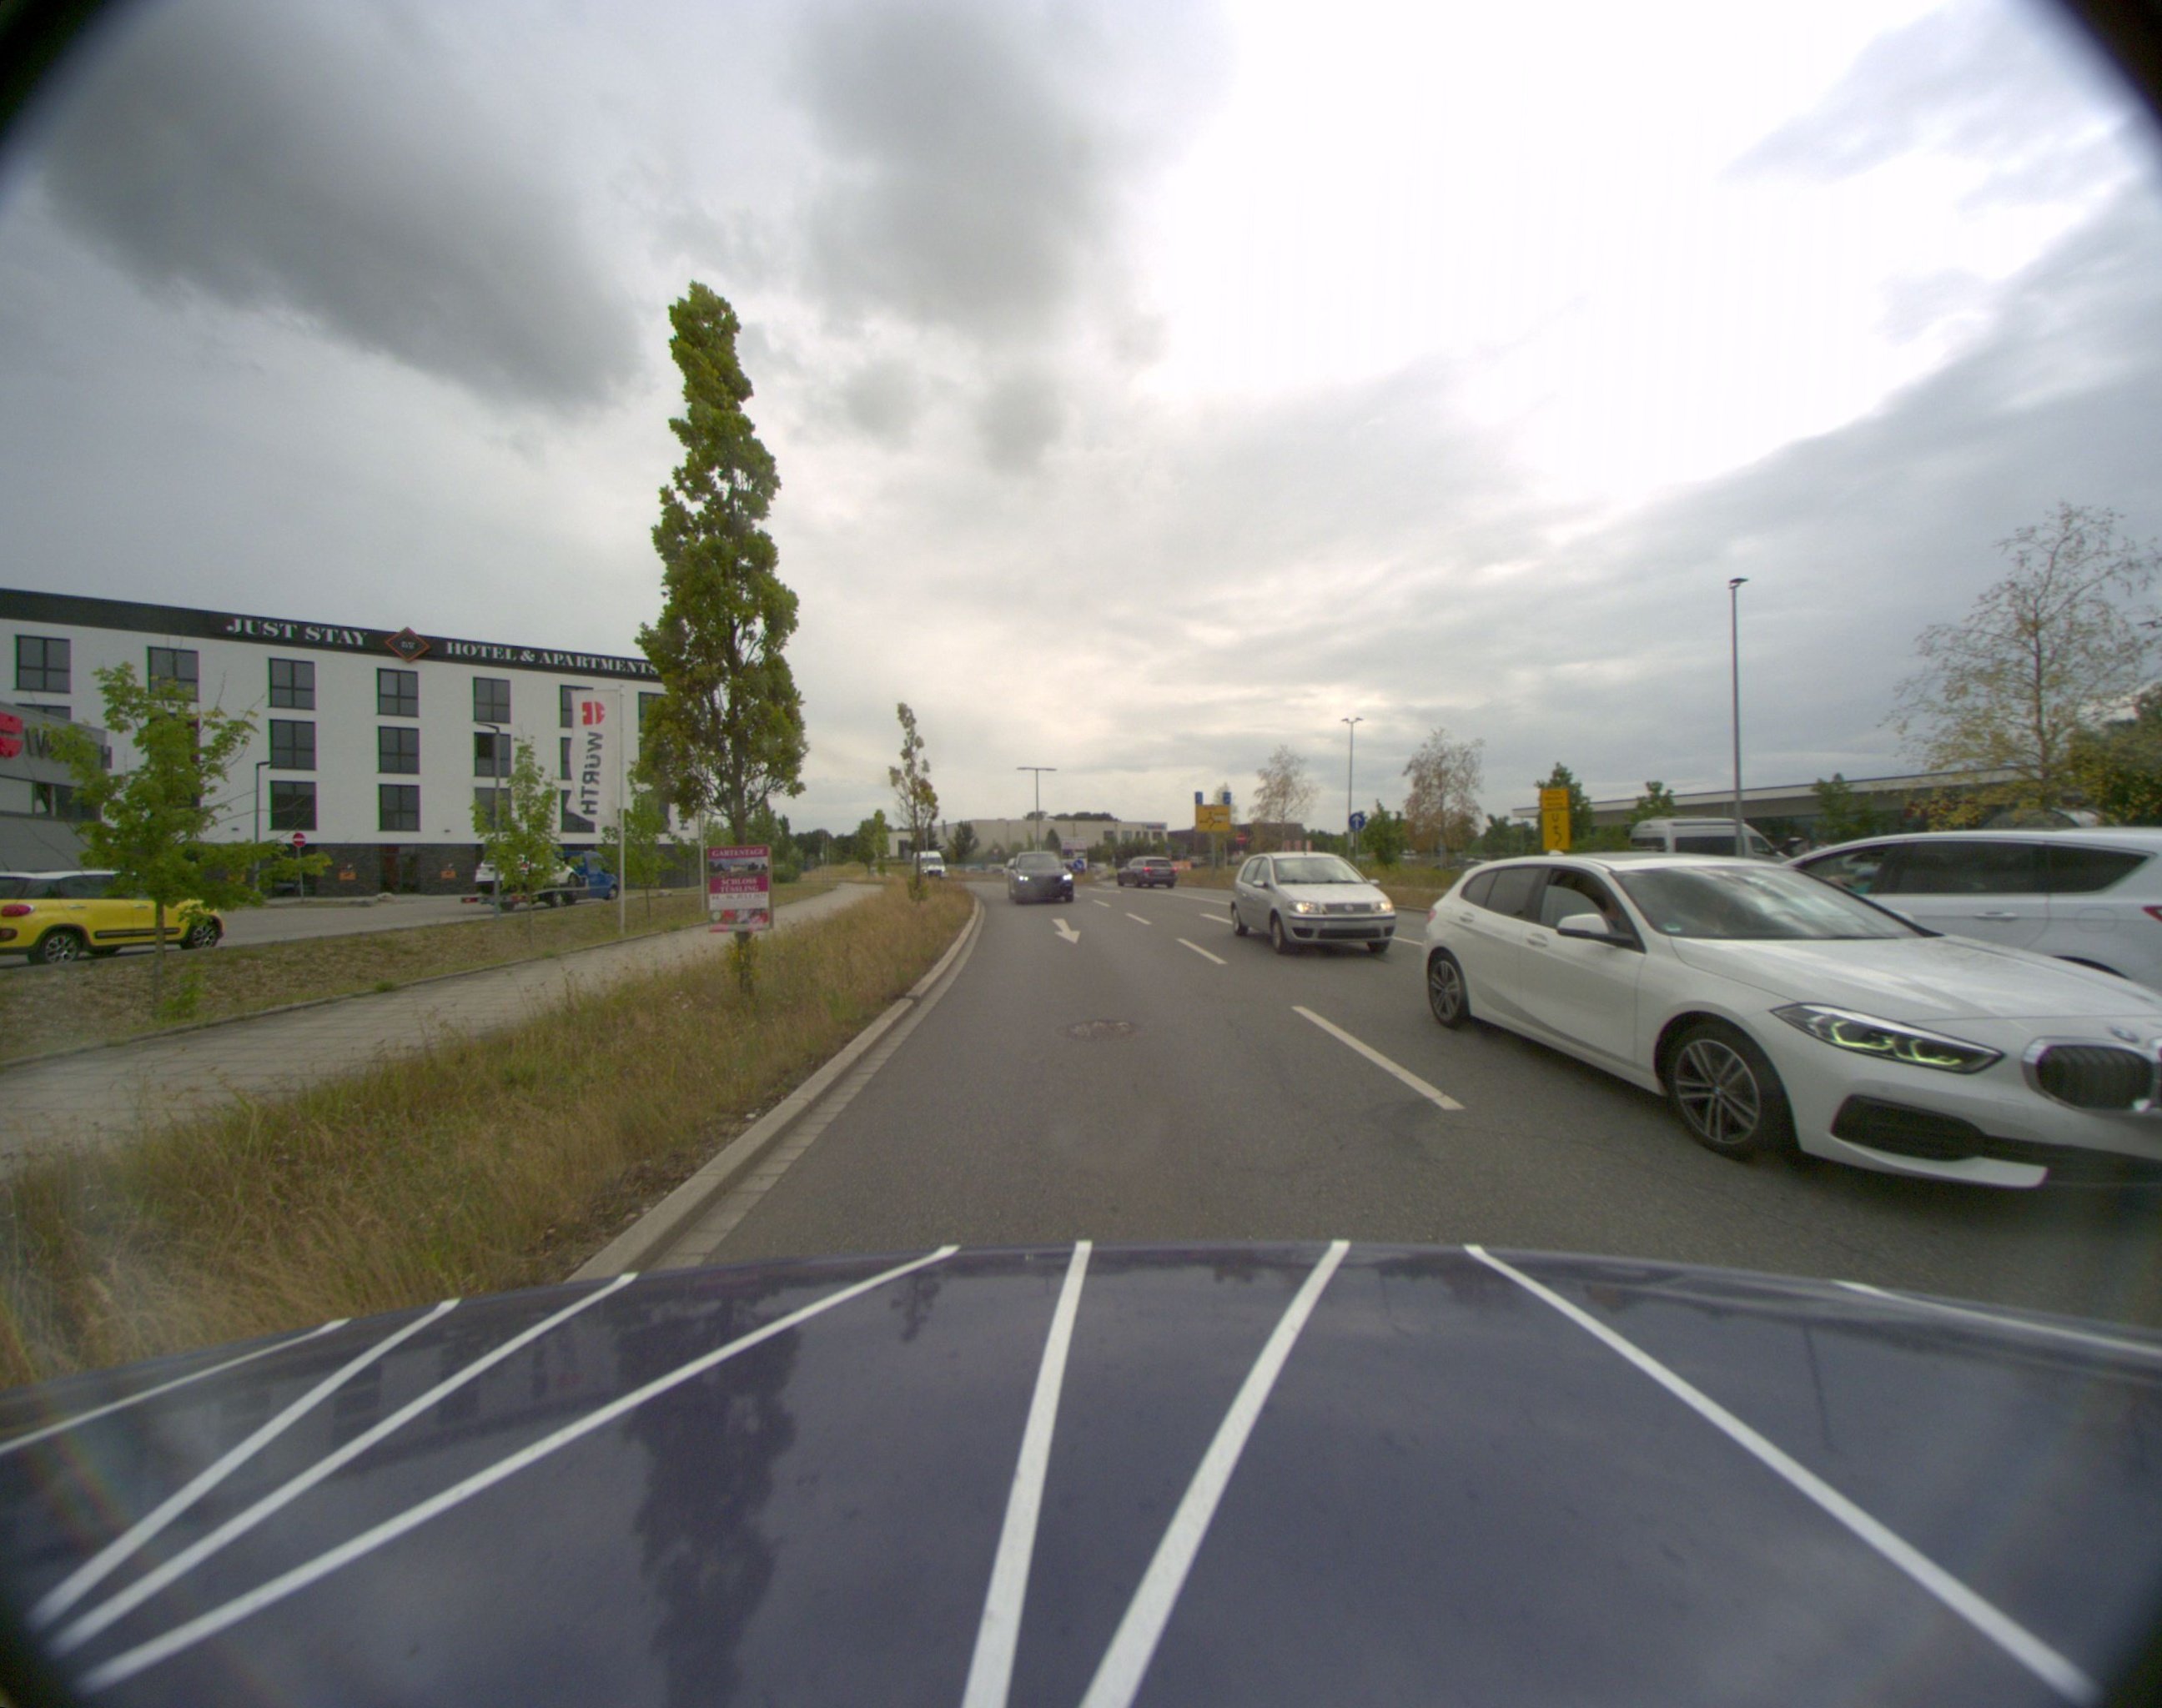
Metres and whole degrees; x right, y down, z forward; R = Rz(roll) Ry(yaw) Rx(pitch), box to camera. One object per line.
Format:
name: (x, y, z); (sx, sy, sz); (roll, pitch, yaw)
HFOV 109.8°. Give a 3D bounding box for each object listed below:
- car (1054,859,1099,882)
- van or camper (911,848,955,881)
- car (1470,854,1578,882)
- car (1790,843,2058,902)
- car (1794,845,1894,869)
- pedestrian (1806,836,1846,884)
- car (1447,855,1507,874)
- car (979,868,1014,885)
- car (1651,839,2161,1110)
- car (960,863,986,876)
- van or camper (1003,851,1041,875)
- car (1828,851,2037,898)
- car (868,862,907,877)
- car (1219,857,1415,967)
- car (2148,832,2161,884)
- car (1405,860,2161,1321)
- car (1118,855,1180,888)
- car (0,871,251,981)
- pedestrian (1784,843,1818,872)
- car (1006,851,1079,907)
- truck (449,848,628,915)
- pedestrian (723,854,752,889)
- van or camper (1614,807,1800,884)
car: (-0.347, 1.049, 50.847); (1.725, 1.437, 4.228); (0, 0, -20)
van or camper: (-12.248, 0.872, 62.684); (2.268, 2.601, 5.685); (-1, 0, -25)
car: (23.028, 0.707, 39.582); (4.582, 1.358, 2.140); (-1, 0, -10)
car: (19.729, 0.412, 17.943); (4.091, 1.252, 2.011); (-1, 0, 0)
car: (48.441, 0.199, 48.351); (2.001, 1.433, 3.995); (-1, 0, -14)
pedestrian: (29.687, 0.240, 30.258); (1.013, 1.879, 1.111); (-1, 0, -45)
car: (32.483, 0.859, 62.379); (1.834, 1.443, 4.188); (-1, 0, -21)
car: (-7.885, 2.077, 70.751); (2.174, 1.474, 4.895); (-1, 0, -20)
car: (7.487, 0.735, 6.281); (1.998, 1.627, 4.702); (1, 0, 0)
car: (-11.456, 1.596, 80.469); (1.790, 1.313, 3.993); (-2, 0, -21)
van or camper: (-5.020, 0.746, 63.772); (1.954, 1.996, 5.120); (0, 0, -19)
car: (25.496, 0.591, 22.845); (4.337, 1.297, 2.010); (-1, 0, -5)
car: (-21.150, 1.678, 83.052); (3.989, 1.576, 2.004); (-1, 0, 34)
car: (3.513, 0.777, 12.127); (1.707, 1.429, 4.031); (-1, 0, -3)
car: (41.000, 0.108, 25.909); (2.160, 1.888, 4.919); (-1, 0, -17)
car: (3.818, 0.820, 4.657); (1.885, 1.460, 4.192); (-1, 1, 0)
car: (3.217, 0.811, 36.871); (1.791, 1.481, 4.762); (0, 0, -11)
car: (-18.259, 1.200, 13.977); (1.769, 1.676, 4.407); (-1, 0, -12)
pedestrian: (40.451, 0.191, 42.709); (0.892, 1.597, 1.254); (-1, 0, -39)
car: (-1.382, 0.783, 25.364); (2.000, 1.654, 3.997); (-2, 0, -9)
truck: (-21.284, 0.979, 30.498); (2.234, 2.312, 8.209); (-1, 0, -8)
pedestrian: (-18.492, 0.941, 40.945); (1.195, 1.847, 1.073); (-1, 2, -12)
van or camper: (24.217, -0.351, 29.484); (5.871, 2.784, 2.241); (-1, 1, -9)
